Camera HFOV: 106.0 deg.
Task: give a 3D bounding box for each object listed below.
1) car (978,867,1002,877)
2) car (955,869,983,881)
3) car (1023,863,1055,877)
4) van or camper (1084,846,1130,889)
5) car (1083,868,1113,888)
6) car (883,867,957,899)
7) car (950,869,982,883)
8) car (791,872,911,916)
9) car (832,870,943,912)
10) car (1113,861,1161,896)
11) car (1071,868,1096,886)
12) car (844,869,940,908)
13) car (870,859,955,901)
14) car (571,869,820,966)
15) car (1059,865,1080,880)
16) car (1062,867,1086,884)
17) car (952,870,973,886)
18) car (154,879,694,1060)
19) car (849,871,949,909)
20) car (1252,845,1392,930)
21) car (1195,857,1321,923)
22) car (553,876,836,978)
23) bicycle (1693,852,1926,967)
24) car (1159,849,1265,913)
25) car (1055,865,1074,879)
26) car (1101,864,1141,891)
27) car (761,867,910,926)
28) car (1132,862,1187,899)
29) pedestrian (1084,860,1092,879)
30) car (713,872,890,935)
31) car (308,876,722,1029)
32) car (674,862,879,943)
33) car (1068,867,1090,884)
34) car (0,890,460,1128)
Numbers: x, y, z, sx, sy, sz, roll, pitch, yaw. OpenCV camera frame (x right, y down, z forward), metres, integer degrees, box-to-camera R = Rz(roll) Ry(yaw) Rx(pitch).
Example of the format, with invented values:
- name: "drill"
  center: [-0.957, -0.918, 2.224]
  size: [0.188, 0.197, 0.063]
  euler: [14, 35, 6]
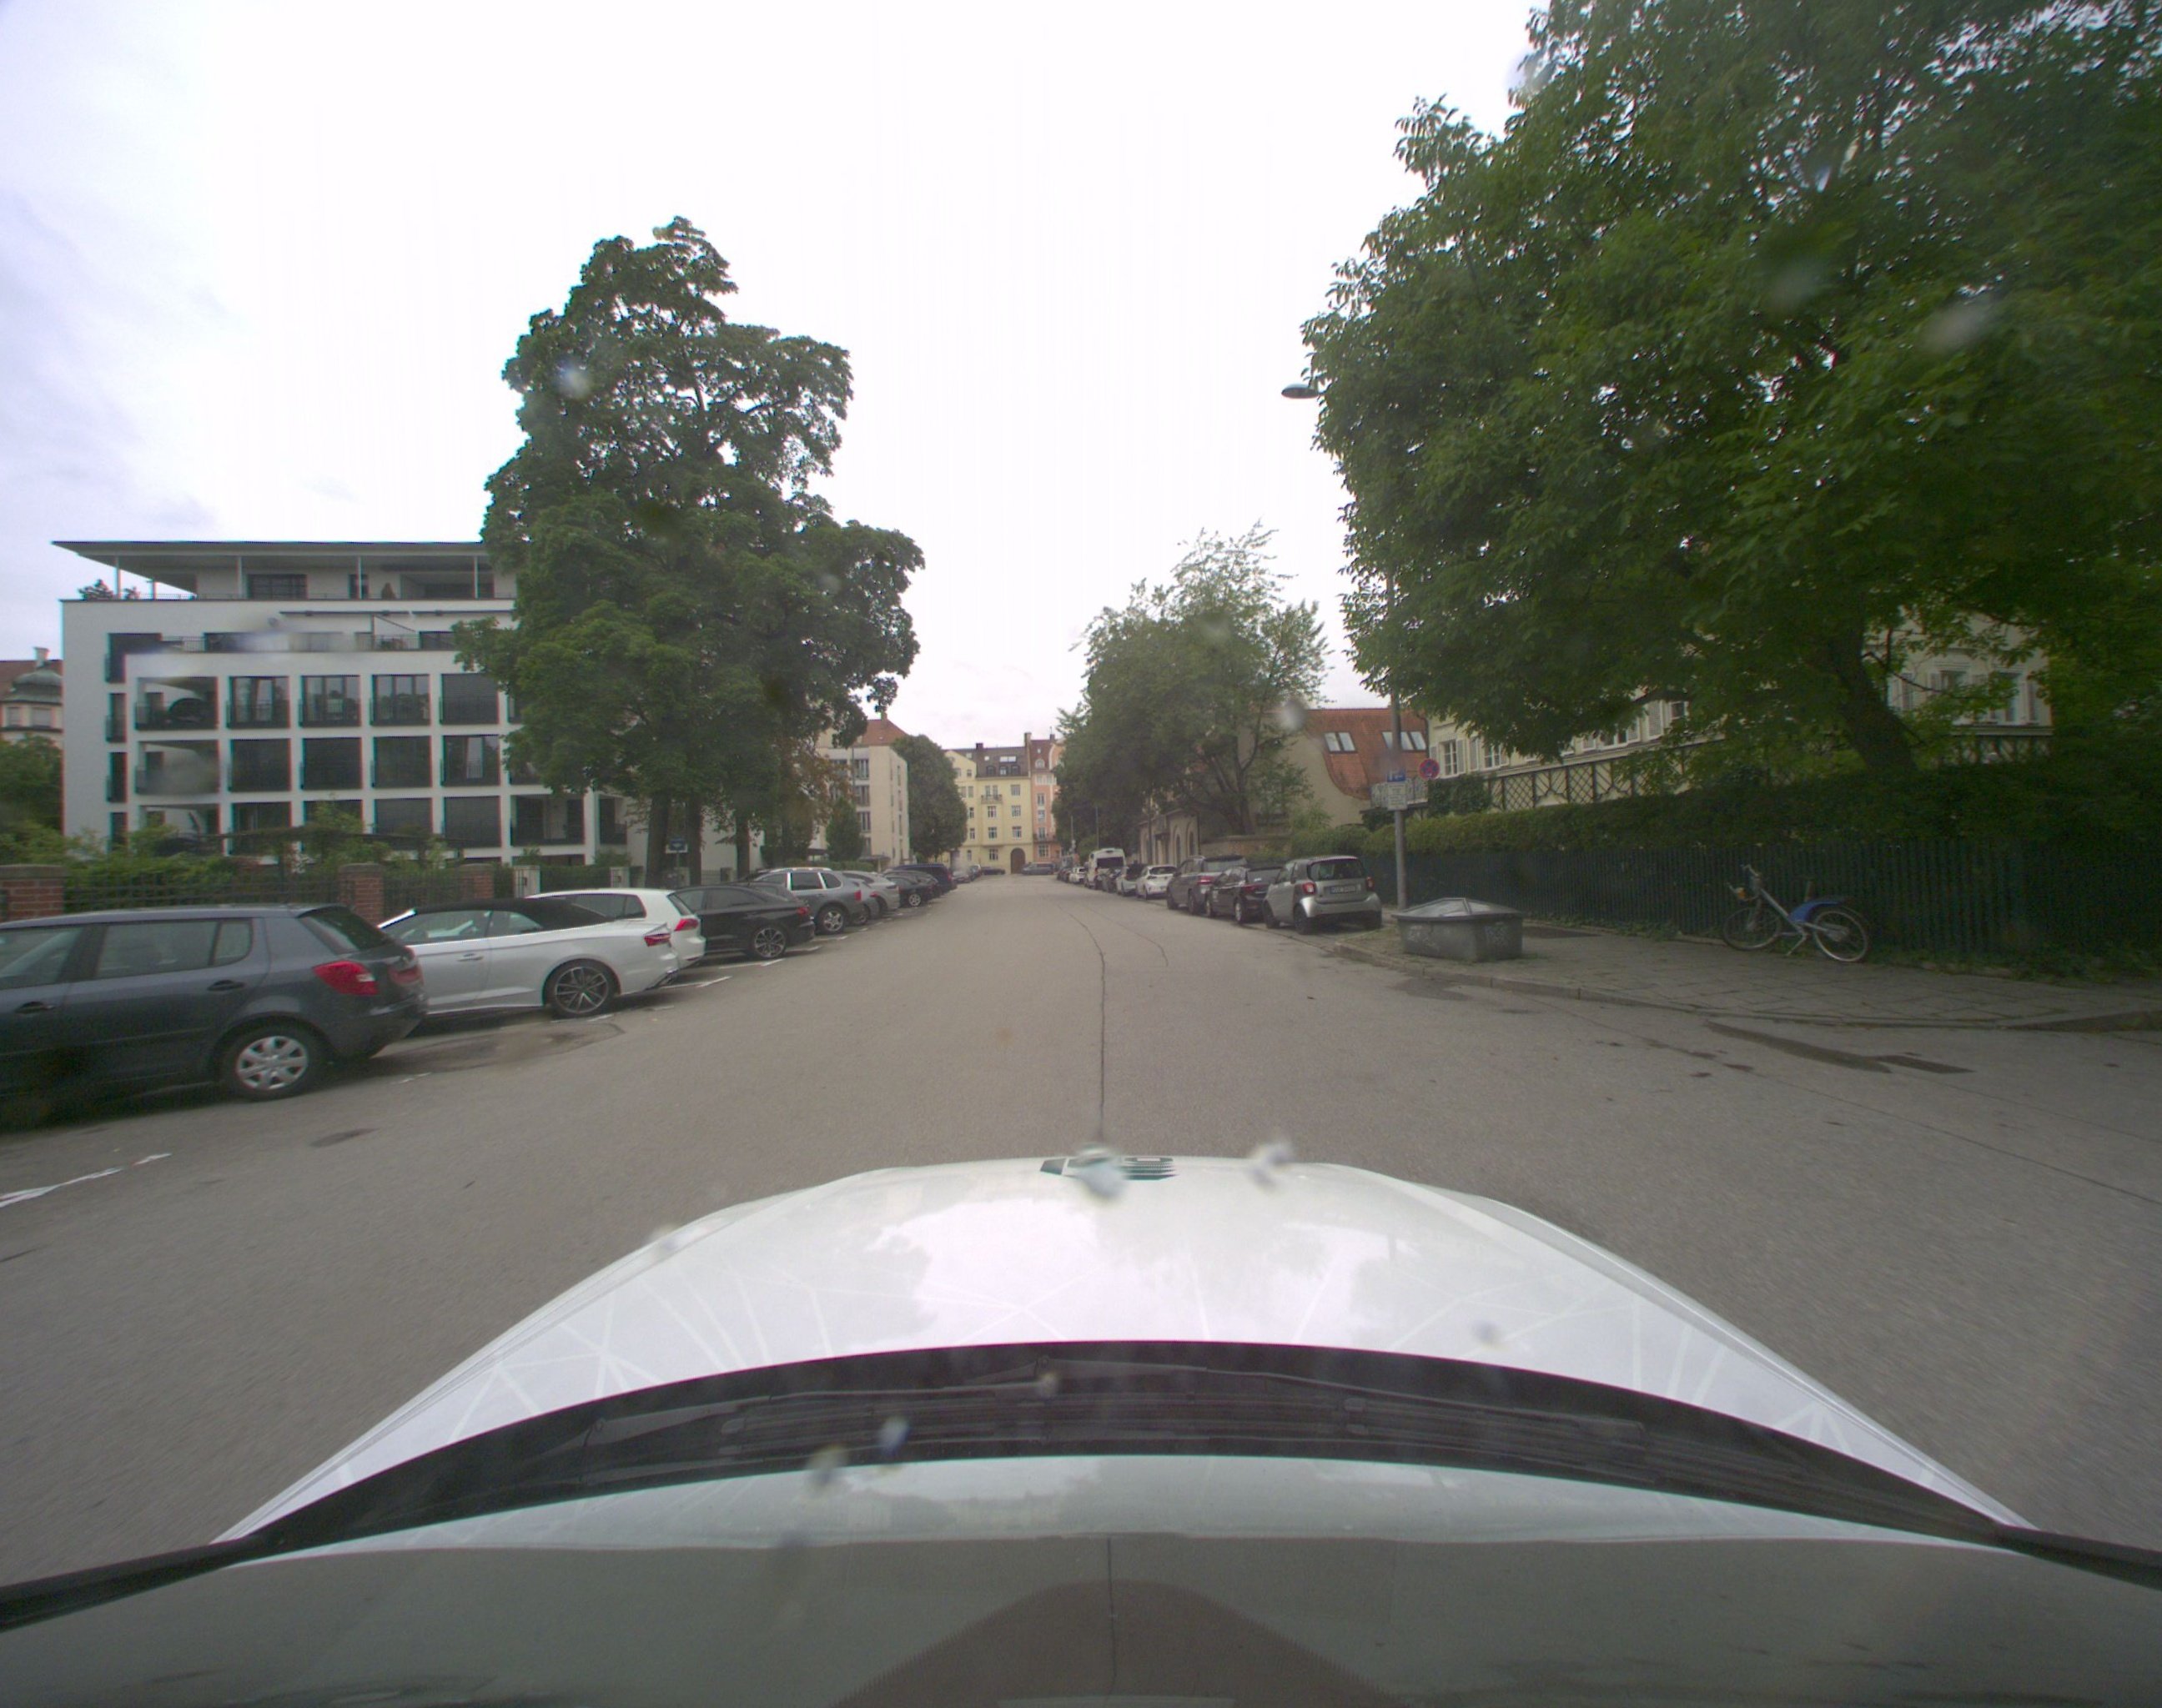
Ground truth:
- name: "car"
  center: [-15.886, 3.191, 142.512]
  size: [3.979, 1.586, 1.701]
  euler: [-2, -1, -4]
- name: "car"
  center: [-16.751, 3.128, 121.824]
  size: [3.981, 1.508, 1.837]
  euler: [-5, -1, -6]
- name: "car"
  center: [-6.243, 2.403, 120.842]
  size: [4.699, 1.881, 1.836]
  euler: [-2, -1, -7]
- name: "van or camper"
  center: [1.625, 0.885, 53.286]
  size: [2.189, 2.550, 5.717]
  euler: [-3, -1, -5]
- name: "car"
  center: [1.201, 1.733, 59.650]
  size: [1.705, 1.369, 4.121]
  euler: [-3, -1, -6]
- name: "car"
  center: [-9.939, 1.789, 50.394]
  size: [4.137, 1.708, 1.718]
  euler: [-3, -1, -35]
- name: "car"
  center: [-15.479, 2.943, 109.951]
  size: [3.981, 1.508, 1.837]
  euler: [-5, -1, -6]
- name: "car"
  center: [-9.035, 1.547, 32.057]
  size: [4.229, 1.461, 1.776]
  euler: [-2, -1, -29]
- name: "car"
  center: [-8.264, 1.560, 34.981]
  size: [4.236, 1.461, 1.718]
  euler: [-3, -1, -35]
- name: "car"
  center: [2.740, 1.209, 40.688]
  size: [1.704, 1.537, 4.233]
  euler: [-4, -1, -4]
- name: "car"
  center: [0.161, 1.979, 71.535]
  size: [1.705, 1.408, 4.121]
  euler: [-3, -1, -6]
- name: "car"
  center: [-9.319, 1.668, 40.253]
  size: [4.231, 1.609, 1.720]
  euler: [-3, -1, -30]
- name: "car"
  center: [-9.357, 1.427, 45.296]
  size: [4.235, 2.066, 1.719]
  euler: [-3, -1, -34]
- name: "car"
  center: [-8.055, 1.239, 17.194]
  size: [4.433, 1.630, 1.943]
  euler: [-2, -2, -37]
- name: "car"
  center: [-1.228, 1.930, 86.114]
  size: [1.669, 1.344, 3.827]
  euler: [-3, 1, -7]
- name: "car"
  center: [-0.720, 2.095, 80.710]
  size: [1.802, 1.466, 3.826]
  euler: [-3, 1, -8]
- name: "car"
  center: [-12.797, 2.571, 88.002]
  size: [1.831, 1.508, 3.993]
  euler: [-5, -1, -4]
- name: "car"
  center: [-7.113, 1.146, 9.543]
  size: [4.529, 1.451, 1.879]
  euler: [-2, -1, -29]
- name: "car"
  center: [-8.429, 1.647, 37.751]
  size: [4.226, 1.461, 1.722]
  euler: [-3, -1, -26]
- name: "car"
  center: [5.004, 0.701, 17.331]
  size: [1.738, 1.536, 2.938]
  euler: [-4, -2, -7]
- name: "car"
  center: [4.499, 0.895, 21.430]
  size: [1.875, 1.427, 4.211]
  euler: [-4, -1, -7]
- name: "car"
  center: [-7.067, 1.235, 15.054]
  size: [4.432, 1.439, 1.944]
  euler: [-2, -2, -36]
- name: "bicycle"
  center: [8.310, 0.581, 9.438]
  size: [0.805, 1.162, 1.969]
  euler: [-2, 0, -5]
- name: "car"
  center: [4.040, 0.821, 26.045]
  size: [1.992, 1.711, 4.872]
  euler: [-4, -1, -7]
- name: "car"
  center: [-1.862, 1.990, 90.990]
  size: [1.669, 1.344, 3.827]
  euler: [-3, 1, -7]
- name: "car"
  center: [2.232, 1.327, 46.449]
  size: [1.704, 1.369, 4.433]
  euler: [-3, -1, -4]
- name: "car"
  center: [-8.157, 1.364, 27.032]
  size: [4.421, 1.621, 2.068]
  euler: [-2, -1, -26]
- name: "car"
  center: [3.359, 1.147, 35.593]
  size: [1.682, 1.441, 3.994]
  euler: [-3, -1, -4]
- name: "pedestrian"
  center: [0.729, 1.631, 86.042]
  size: [0.772, 2.014, 0.561]
  euler: [-2, -1, -5]
- name: "car"
  center: [-8.062, 1.391, 23.650]
  size: [4.432, 1.491, 1.995]
  euler: [-2, -2, -37]
- name: "car"
  center: [-7.818, 1.270, 11.834]
  size: [4.530, 1.509, 1.913]
  euler: [-4, -1, -29]
- name: "car"
  center: [-7.684, 1.164, 20.695]
  size: [4.433, 1.699, 2.113]
  euler: [-2, -2, -37]
- name: "car"
  center: [-0.191, 2.024, 76.456]
  size: [1.704, 1.466, 3.832]
  euler: [-3, -1, -4]
- name: "car"
  center: [-7.706, 1.147, 6.226]
  size: [4.404, 1.451, 1.643]
  euler: [-3, -1, -26]
